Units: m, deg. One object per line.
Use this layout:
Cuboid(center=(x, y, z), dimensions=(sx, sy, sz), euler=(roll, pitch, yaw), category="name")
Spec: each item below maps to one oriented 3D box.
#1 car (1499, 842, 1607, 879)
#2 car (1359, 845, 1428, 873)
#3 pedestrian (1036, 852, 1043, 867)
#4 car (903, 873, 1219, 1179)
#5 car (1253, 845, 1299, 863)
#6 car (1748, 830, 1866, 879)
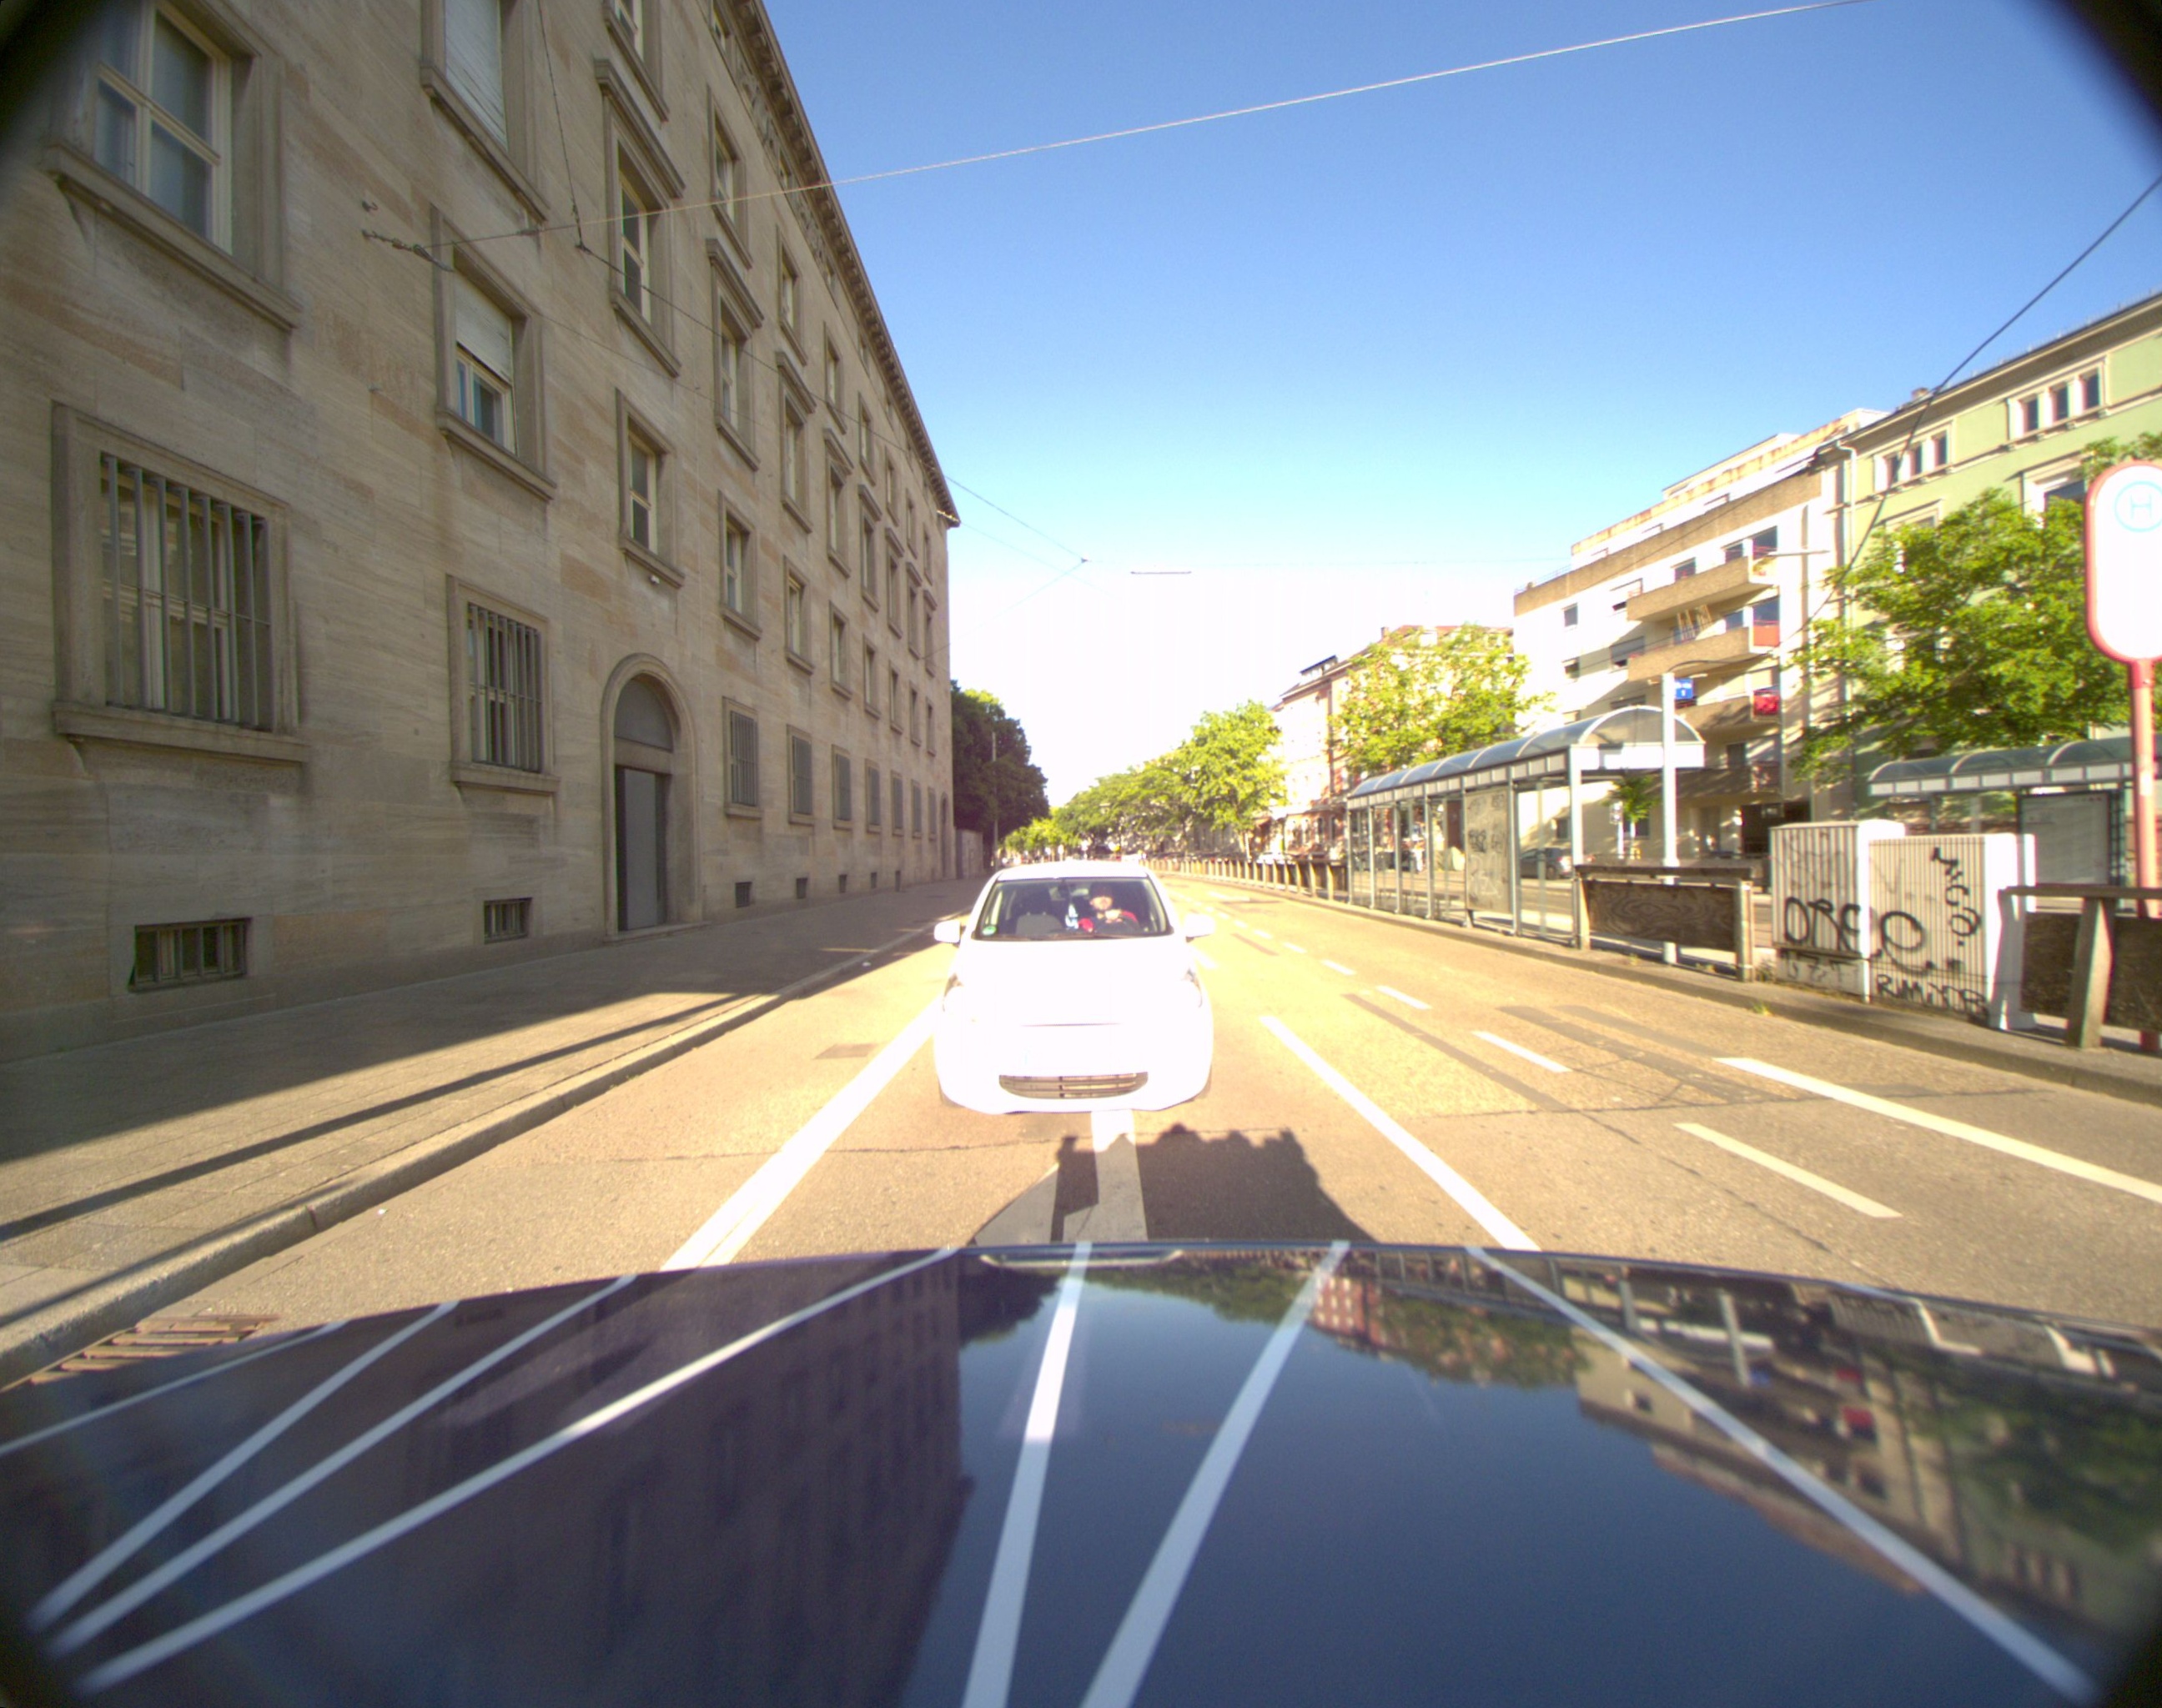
Cuboid(center=(21.045, 0.274, 34.100), dimensions=(2.000, 1.521, 3.997), euler=(0, 0, -8), category="car")
Cuboid(center=(18.241, 0.272, 44.571), dimensions=(2.000, 1.521, 3.997), euler=(-1, 0, -8), category="car")
Cuboid(center=(-4.584, 0.617, 83.977), dimensions=(0.686, 1.673, 0.929), euler=(-1, 1, 2), category="pedestrian")
Cuboid(center=(-0.080, 0.942, 5.763), dimensions=(1.606, 1.455, 3.621), euler=(-1, 0, 1), category="car")
Cuboid(center=(16.242, 0.007, 63.242), dimensions=(3.648, 1.342, 1.578), euler=(-2, 1, -29), category="car")
Cuboid(center=(31.567, 0.006, 33.065), dimensions=(4.001, 2.002, 1.798), euler=(-1, 1, -13), category="car")
